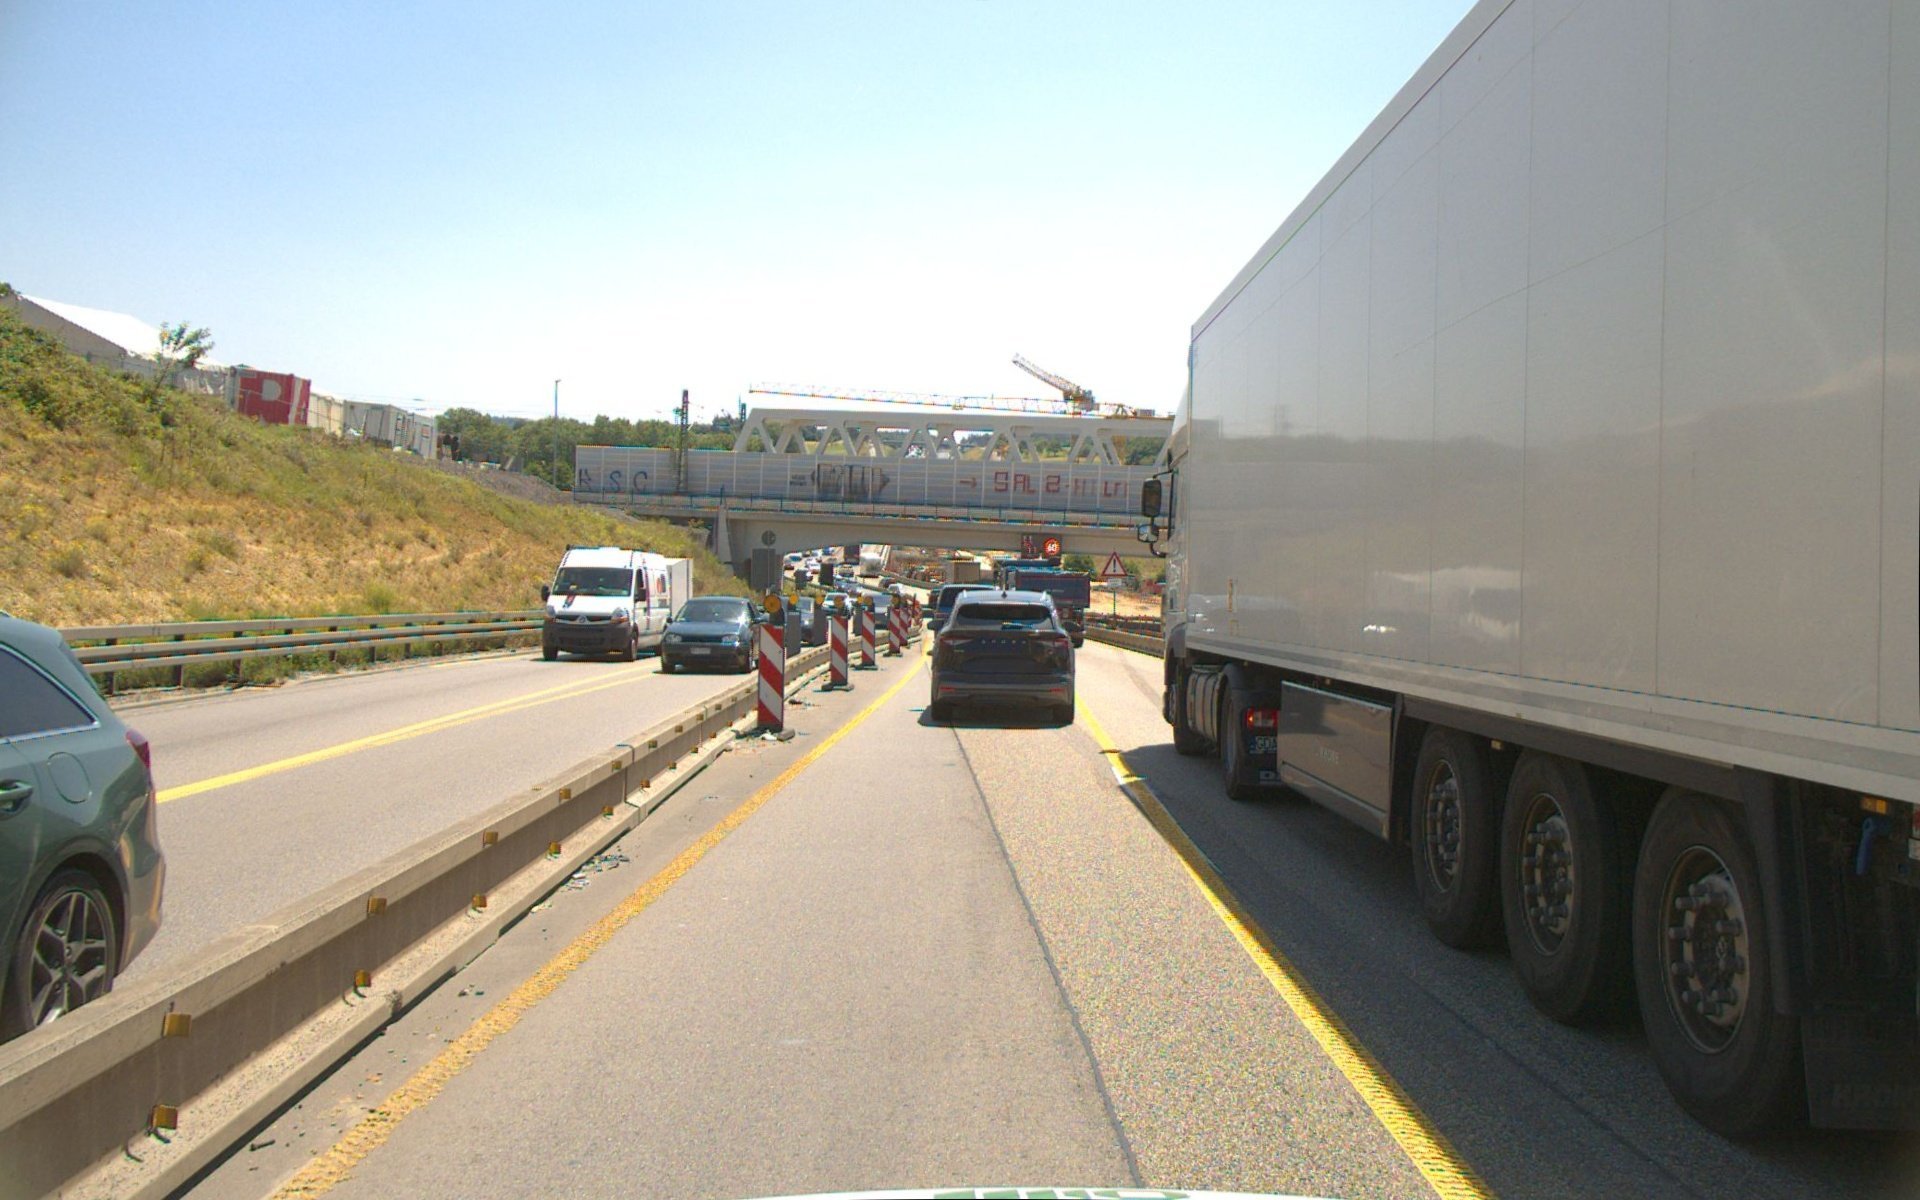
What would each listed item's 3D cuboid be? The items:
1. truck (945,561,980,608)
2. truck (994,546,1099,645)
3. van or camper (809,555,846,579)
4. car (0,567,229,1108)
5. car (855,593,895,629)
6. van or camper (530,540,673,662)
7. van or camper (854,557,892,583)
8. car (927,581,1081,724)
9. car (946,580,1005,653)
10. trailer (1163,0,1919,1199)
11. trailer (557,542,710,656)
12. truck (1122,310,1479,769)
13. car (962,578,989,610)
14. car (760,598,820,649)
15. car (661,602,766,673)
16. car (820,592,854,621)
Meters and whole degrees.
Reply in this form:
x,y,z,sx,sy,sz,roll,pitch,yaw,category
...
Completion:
x,y,z,sx,sy,sz,roll,pitch,yaw,category
0.213,-1.493,162.356,3.111,4.393,9.255,1,0,-1,truck
2.977,-0.198,60.589,2.757,3.189,12.833,1,0,-2,truck
-20.209,-4.963,250.936,3.880,3.479,8.368,1,1,-17,van or camper
-3.378,0.635,3.852,1.632,1.453,3.999,0,0,-1,car
-3.493,0.455,68.389,1.470,1.445,3.176,1,0,-1,car
-7.964,0.014,37.268,2.170,2.524,4.750,1,0,-1,van or camper
-12.216,-4.204,231.708,3.875,3.479,8.380,1,1,-13,van or camper
0.492,0.625,21.314,1.764,1.649,3.296,1,0,-2,car
0.442,0.419,45.344,1.444,1.826,3.298,3,0,1,car
3.322,-0.544,8.721,2.744,4.129,14.116,1,0,0,trailer
-7.999,-0.013,41.540,2.170,2.524,8.525,1,0,-1,trailer
3.333,-0.560,17.483,2.720,4.129,4.904,1,0,0,truck
1.129,-0.446,122.851,1.628,2.309,3.794,2,0,-4,car
-5.049,0.678,49.387,1.470,1.445,3.176,1,0,-1,car
-4.769,0.702,32.363,1.577,1.298,3.166,1,0,-1,car
-7.652,0.392,103.052,1.755,1.668,3.849,4,0,-1,car
